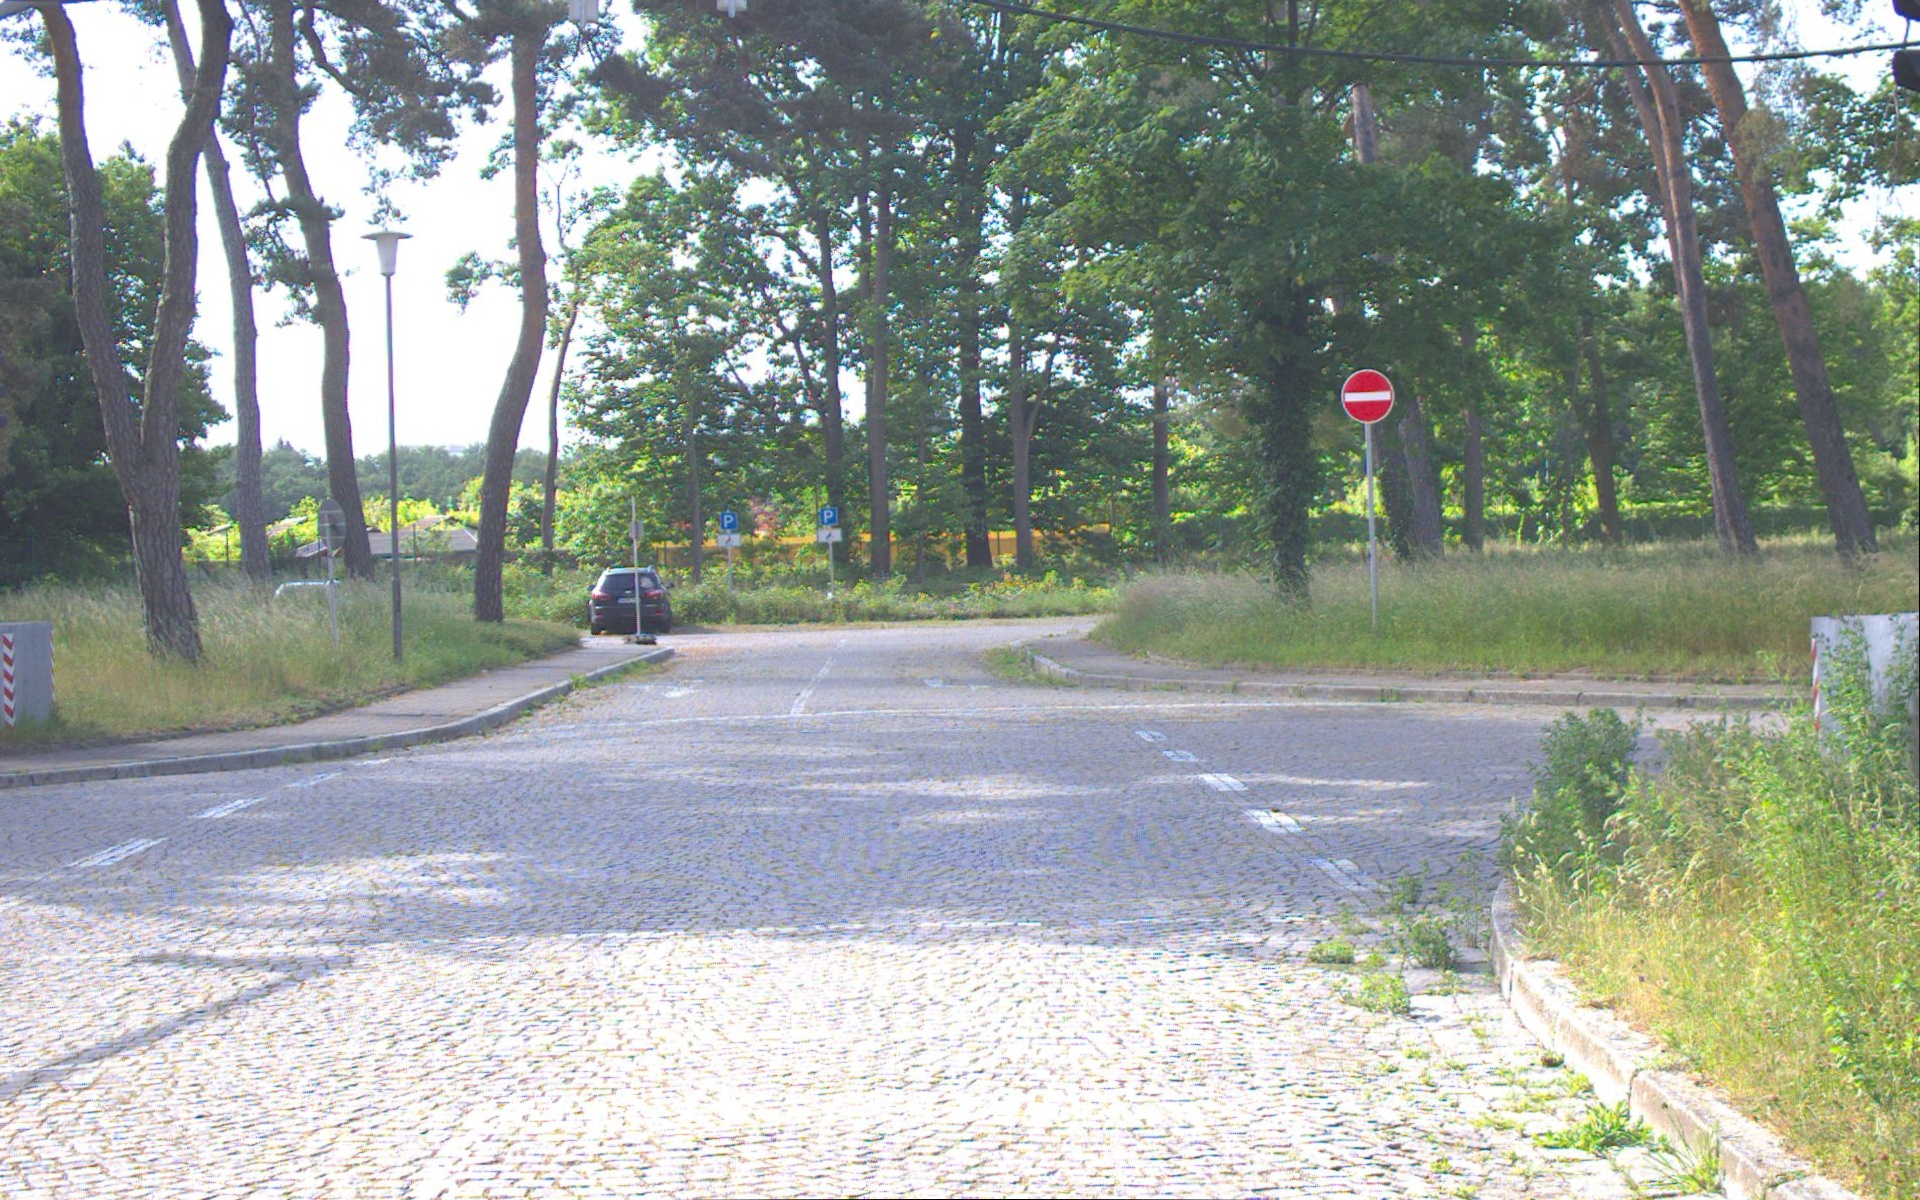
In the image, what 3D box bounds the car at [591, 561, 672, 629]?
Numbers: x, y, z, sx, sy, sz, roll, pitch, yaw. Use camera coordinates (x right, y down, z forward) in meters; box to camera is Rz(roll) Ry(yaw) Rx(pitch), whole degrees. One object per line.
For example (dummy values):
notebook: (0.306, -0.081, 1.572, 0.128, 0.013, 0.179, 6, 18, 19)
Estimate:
car: (-7.657, -0.145, 80.417, 1.709, 1.491, 3.919, -2, 1, -3)
